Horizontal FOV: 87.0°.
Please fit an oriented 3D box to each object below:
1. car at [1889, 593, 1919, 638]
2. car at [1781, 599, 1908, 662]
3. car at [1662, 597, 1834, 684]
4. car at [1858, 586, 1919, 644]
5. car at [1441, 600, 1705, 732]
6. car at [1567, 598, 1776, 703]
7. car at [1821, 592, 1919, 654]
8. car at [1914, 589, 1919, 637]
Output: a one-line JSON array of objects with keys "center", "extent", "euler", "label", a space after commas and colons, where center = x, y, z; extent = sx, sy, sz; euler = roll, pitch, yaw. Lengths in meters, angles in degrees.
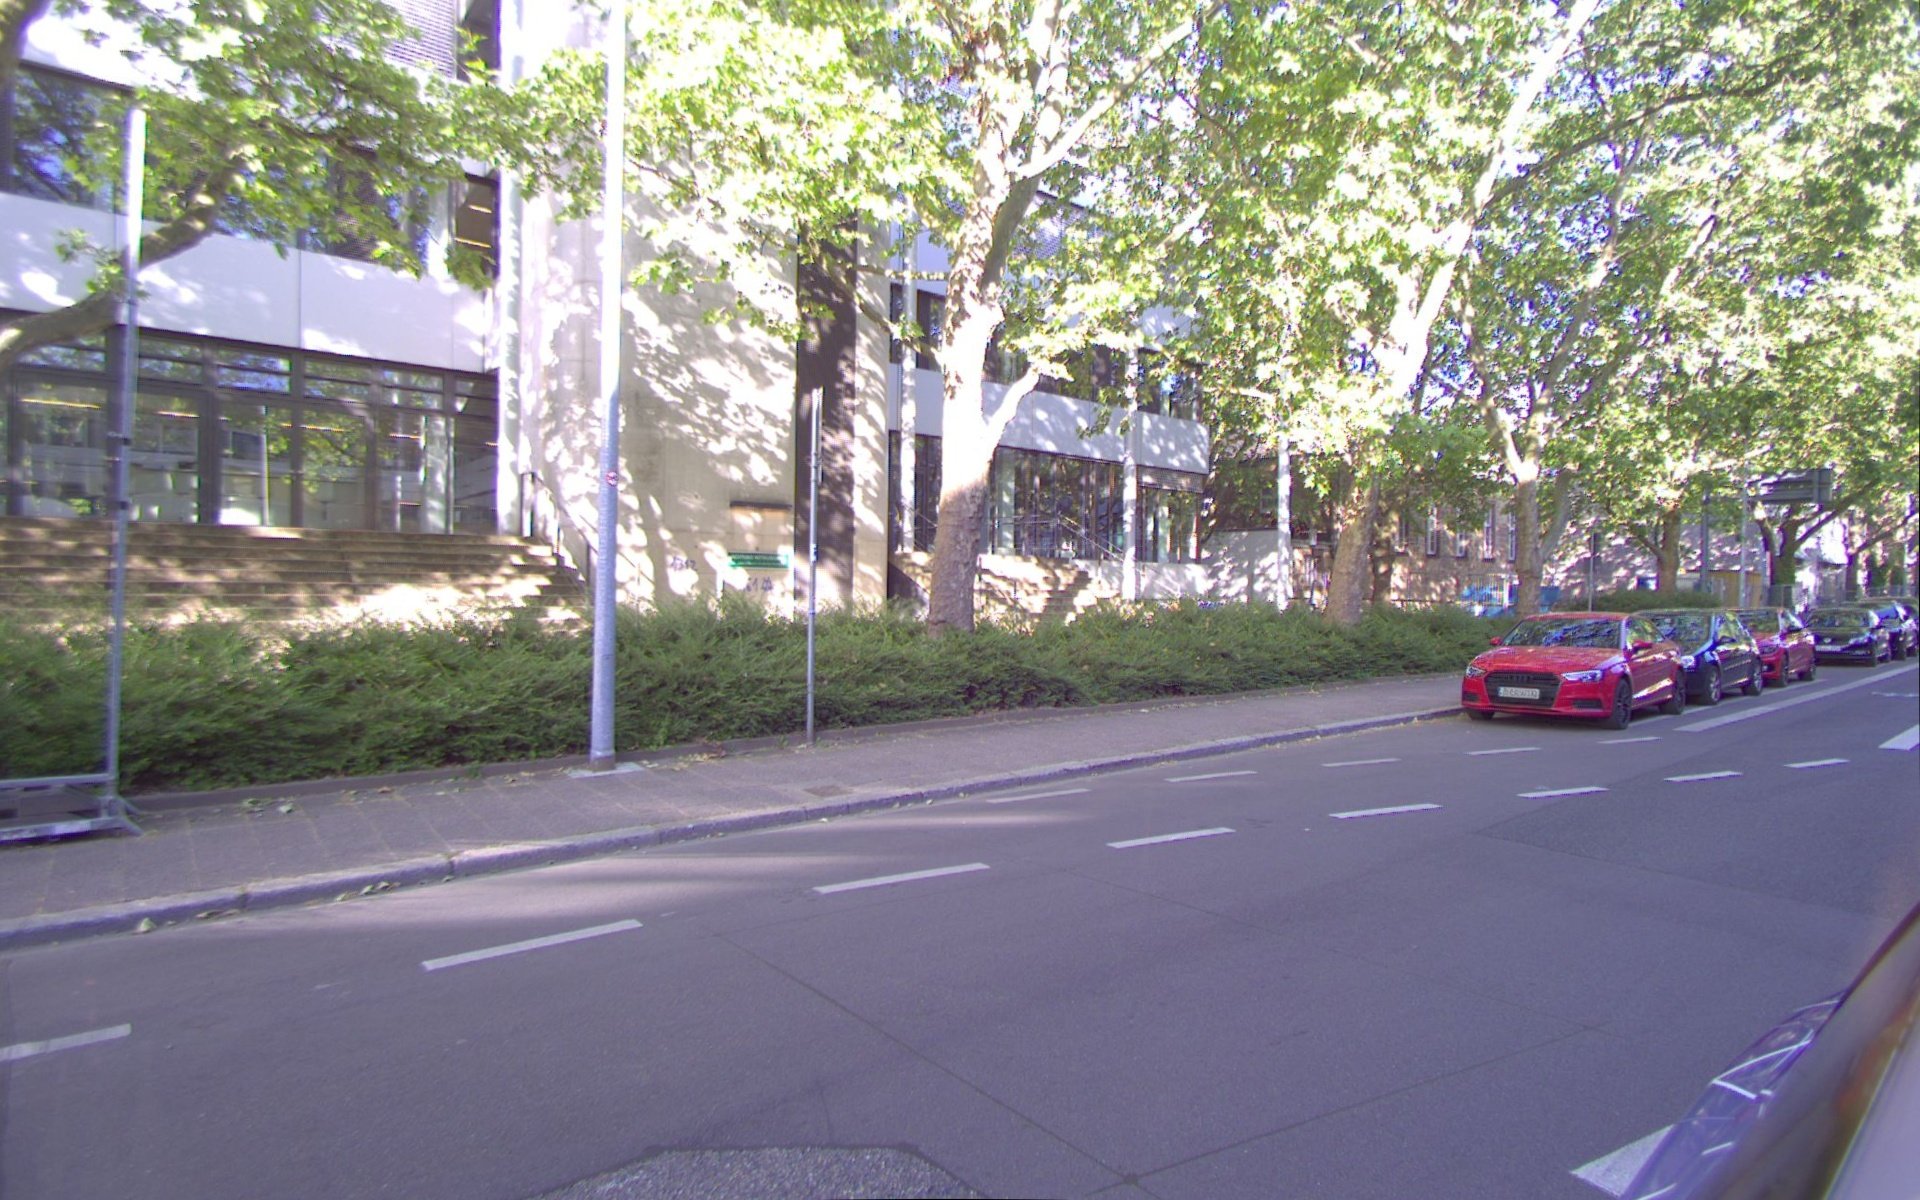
[{"center": [36.033, 0.531, 37.461], "extent": [4.070, 1.585, 1.997], "euler": [-1, 1, -41], "label": "car"}, {"center": [22.809, 0.719, 26.066], "extent": [3.527, 1.474, 1.997], "euler": [-1, 1, -41], "label": "car"}, {"center": [15.659, 0.716, 20.060], "extent": [3.762, 1.517, 1.997], "euler": [-1, 1, -41], "label": "car"}, {"center": [31.273, 0.447, 33.316], "extent": [4.493, 1.809, 1.997], "euler": [-1, 0, -41], "label": "car"}, {"center": [8.267, 0.750, 13.528], "extent": [3.930, 1.443, 1.906], "euler": [-1, 1, -41], "label": "car"}, {"center": [11.691, 0.728, 16.570], "extent": [3.581, 1.478, 1.997], "euler": [-1, 1, -41], "label": "car"}, {"center": [26.538, 0.606, 29.189], "extent": [4.070, 1.621, 1.997], "euler": [-1, 0, -41], "label": "car"}, {"center": [39.612, 0.482, 40.275], "extent": [3.930, 1.872, 1.997], "euler": [-1, 0, -41], "label": "car"}]
